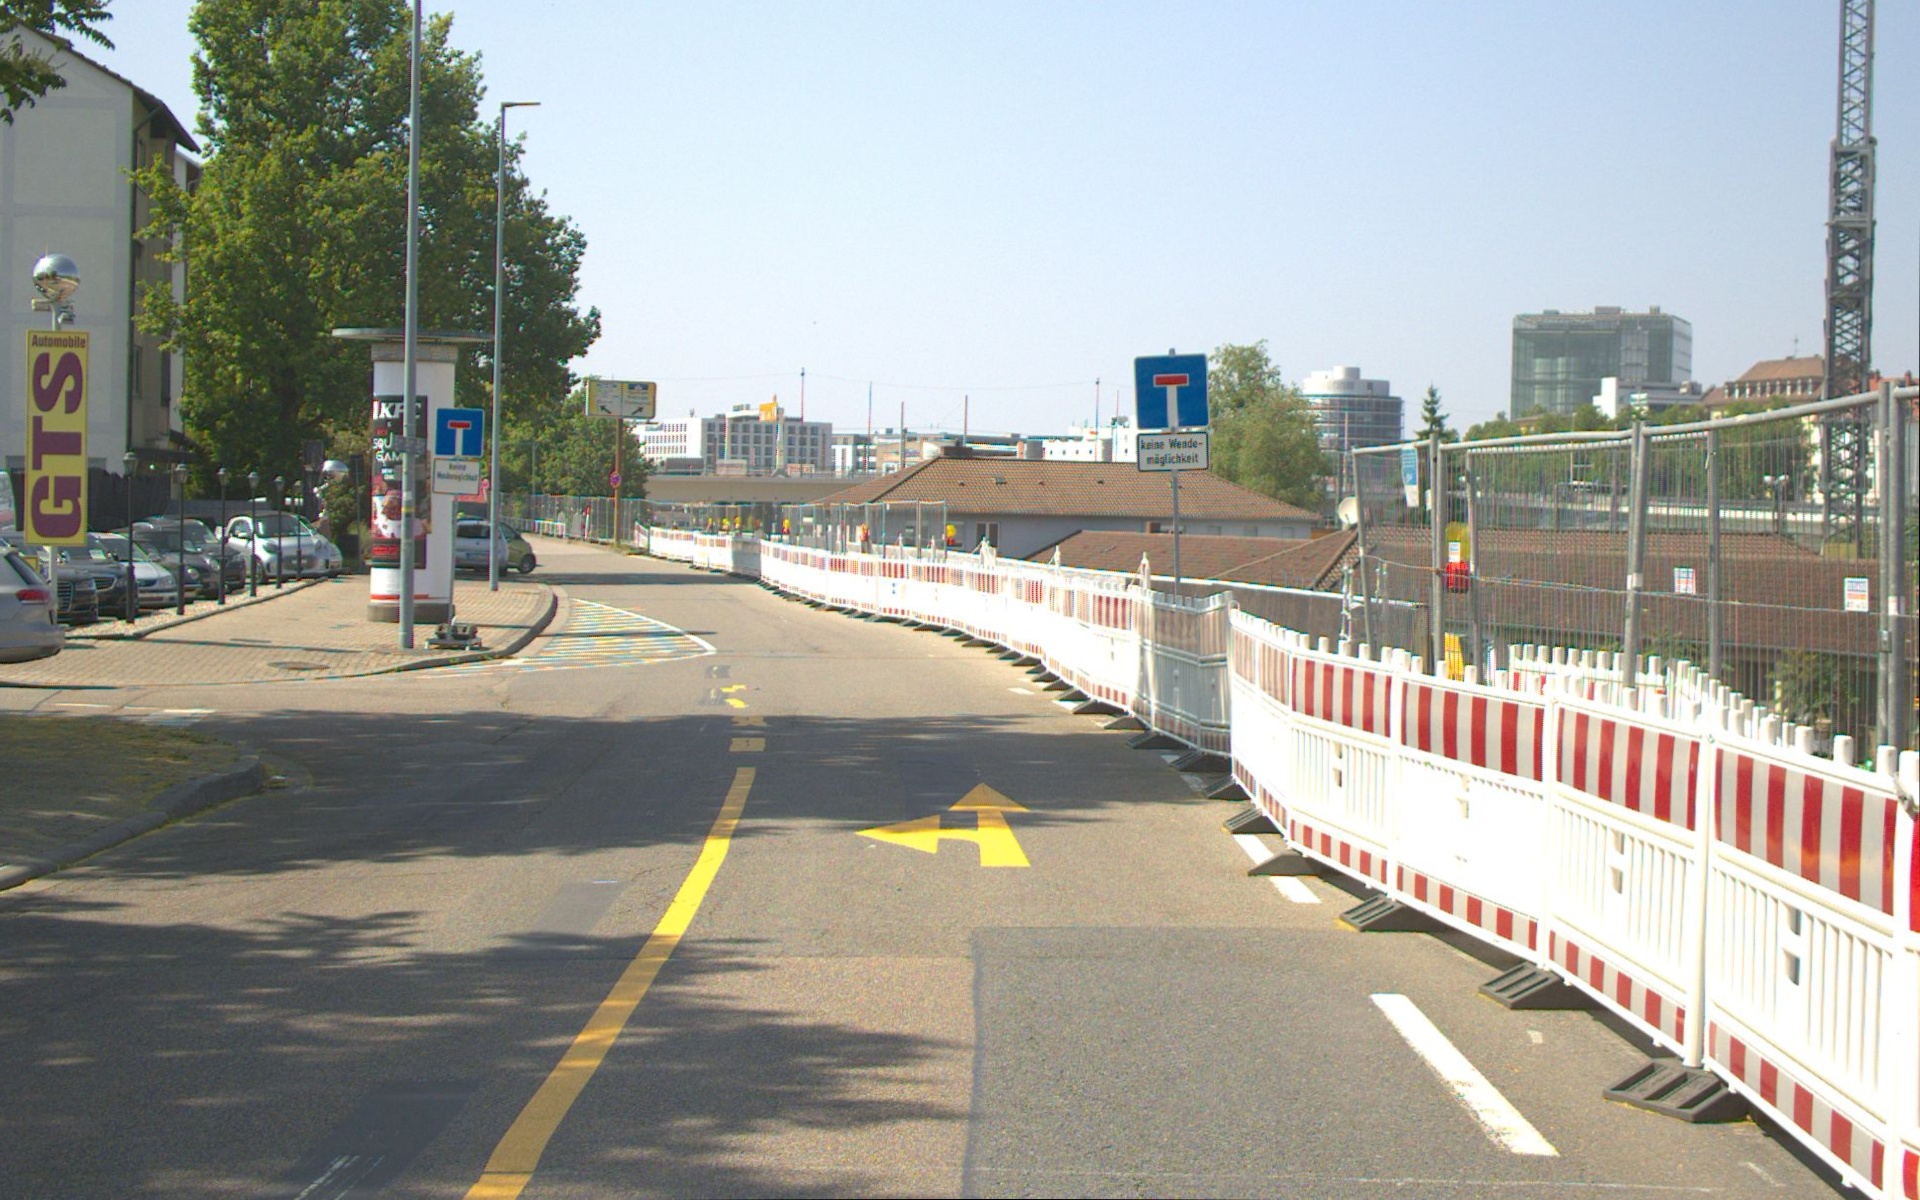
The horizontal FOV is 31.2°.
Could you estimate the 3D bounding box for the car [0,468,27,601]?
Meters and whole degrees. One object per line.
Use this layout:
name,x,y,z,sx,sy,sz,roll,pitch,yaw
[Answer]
car,-18.603,-1.263,62.179,2.245,2.422,5.720,4,0,-6

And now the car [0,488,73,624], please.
car,-13.577,-0.498,44.872,1.976,1.701,4.662,-2,0,-41

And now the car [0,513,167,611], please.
car,-14.306,-0.629,55.494,1.836,1.468,4.000,-3,2,-29

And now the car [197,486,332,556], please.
car,-21.188,-2.412,104.727,3.921,1.952,1.760,2,1,-14

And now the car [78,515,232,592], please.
car,-16.311,-0.951,69.568,1.667,1.468,4.000,-3,2,-34

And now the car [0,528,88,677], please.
car,-11.194,0.004,34.778,4.589,1.488,1.683,0,1,-14

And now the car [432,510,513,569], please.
car,-13.229,-1.656,93.524,1.869,1.493,4.032,0,2,-3

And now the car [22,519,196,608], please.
car,-15.085,-0.659,60.815,1.780,1.468,4.000,-3,2,-32

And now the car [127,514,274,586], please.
car,-16.390,-1.088,74.062,1.667,1.468,4.000,-3,2,-34

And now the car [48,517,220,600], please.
car,-15.605,-0.804,64.842,1.667,1.468,3.999,-3,3,-37

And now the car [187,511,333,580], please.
car,-15.837,-1.240,77.656,1.776,1.468,4.000,-3,2,-34
